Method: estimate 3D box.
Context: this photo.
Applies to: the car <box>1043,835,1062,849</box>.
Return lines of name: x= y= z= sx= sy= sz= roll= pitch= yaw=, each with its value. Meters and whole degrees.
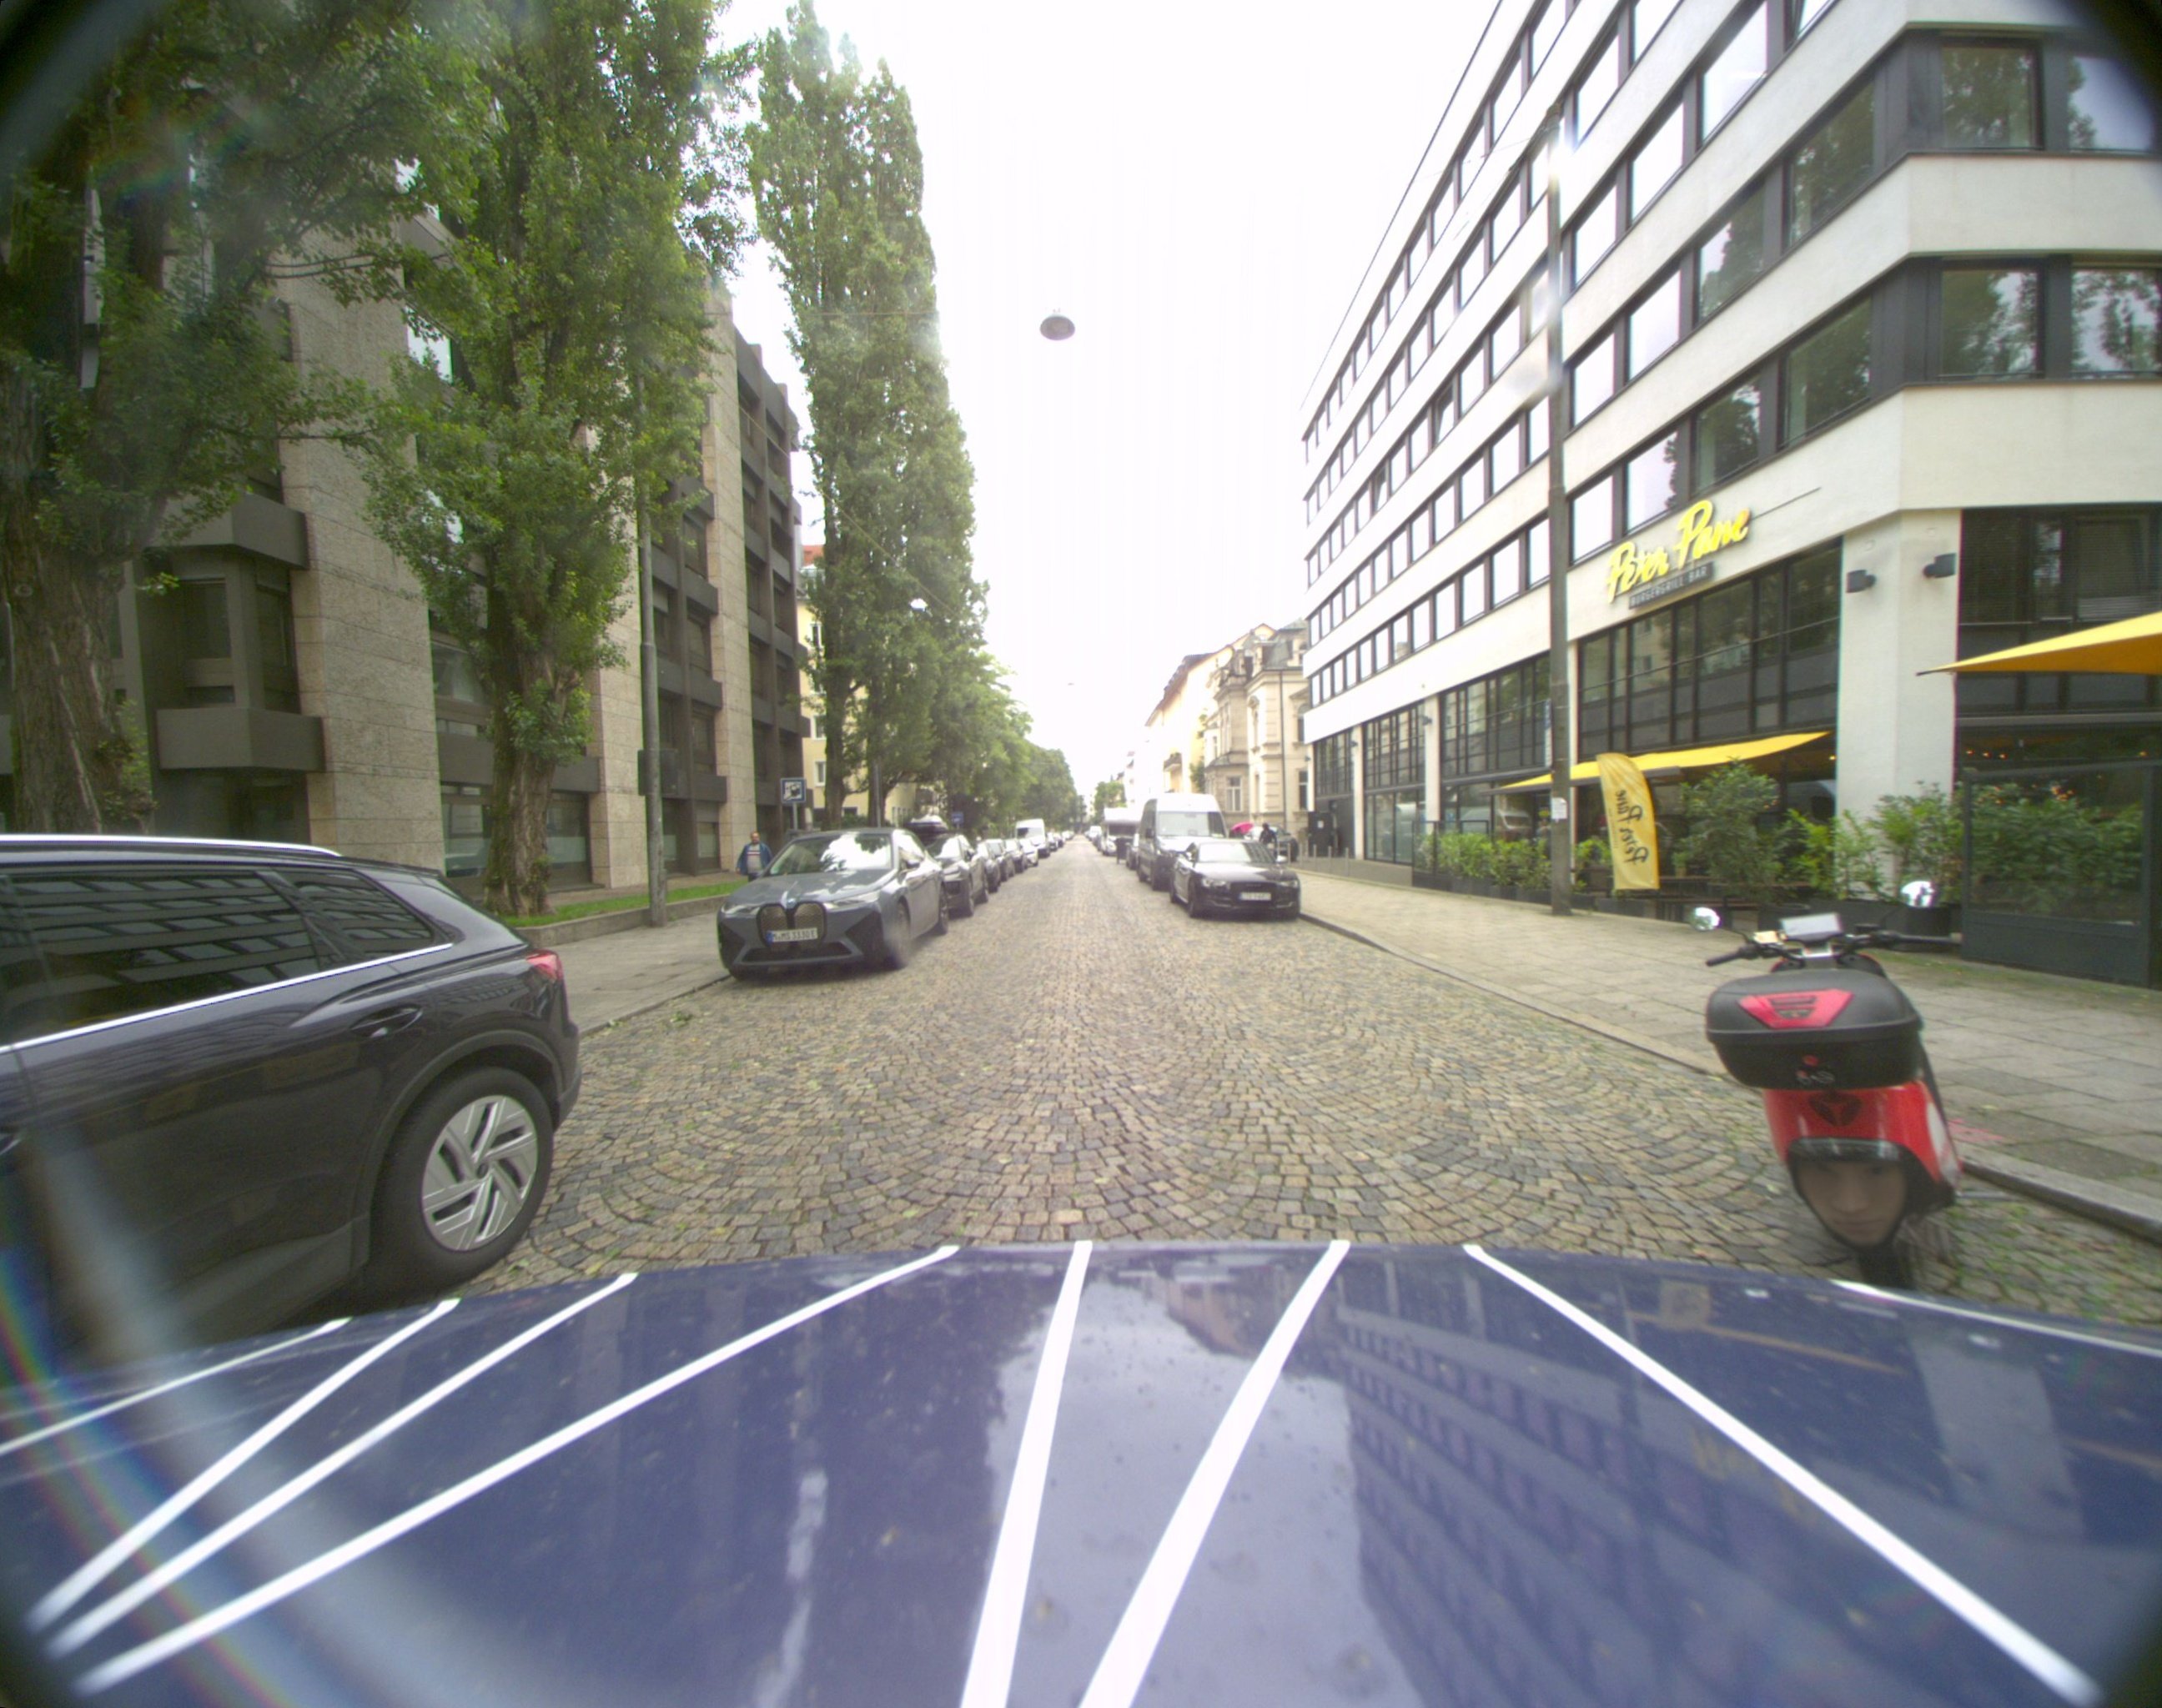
car: x=-3.023 y=-1.314 z=81.703 sx=1.999 sy=1.380 sz=3.870 roll=0 pitch=4 yaw=-2

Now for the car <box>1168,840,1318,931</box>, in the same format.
car: x=2.839 y=0.474 z=14.225 sx=1.998 sy=1.323 sz=4.115 roll=-1 pitch=2 yaw=1

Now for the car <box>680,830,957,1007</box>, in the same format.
car: x=-3.041 y=0.587 z=10.071 sx=2.018 sy=1.691 sz=4.670 roll=-2 pitch=2 yaw=-1

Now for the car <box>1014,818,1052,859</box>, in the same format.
car: x=-3.071 y=-1.044 z=49.325 sx=2.088 sy=2.419 sz=5.607 roll=-3 pitch=2 yaw=-1

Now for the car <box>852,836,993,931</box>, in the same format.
car: x=-3.078 y=0.475 z=15.720 sx=1.999 sy=1.574 sz=4.340 roll=-2 pitch=2 yaw=-1

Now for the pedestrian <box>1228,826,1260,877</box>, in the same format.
pedestrian: x=5.533 y=-0.092 z=25.838 sx=0.928 sy=1.697 sz=0.799 roll=-1 pitch=3 yaw=3

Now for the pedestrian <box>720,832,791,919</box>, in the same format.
pedestrian: x=-6.674 y=0.426 z=15.631 sx=0.867 sy=1.705 sz=0.913 roll=-1 pitch=3 yaw=20

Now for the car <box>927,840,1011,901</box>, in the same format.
car: x=-3.125 y=0.384 z=21.964 sx=1.723 sy=1.382 sz=4.203 roll=-4 pitch=3 yaw=0

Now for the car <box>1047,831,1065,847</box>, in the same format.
car: x=-2.897 y=-1.739 z=88.364 sx=1.999 sy=1.680 sz=3.871 roll=-3 pitch=2 yaw=-2

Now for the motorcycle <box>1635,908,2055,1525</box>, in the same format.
motorcycle: x=2.663 y=0.902 z=2.680 sx=1.994 sy=1.189 sz=0.769 roll=-4 pitch=3 yaw=-43

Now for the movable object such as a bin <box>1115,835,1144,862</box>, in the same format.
movable object such as a bin: x=2.375 y=-0.278 z=37.518 sx=1.255 sy=1.291 sz=1.173 roll=-1 pitch=2 yaw=-4

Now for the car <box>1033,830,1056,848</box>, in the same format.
car: x=-3.260 y=-1.364 z=68.137 sx=1.999 sy=1.380 sz=3.871 roll=-3 pitch=2 yaw=-2

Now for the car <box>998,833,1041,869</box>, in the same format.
car: x=-2.911 y=-0.177 z=36.755 sx=1.868 sy=1.491 sz=3.871 roll=-3 pitch=2 yaw=-2

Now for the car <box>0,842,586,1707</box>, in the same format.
car: x=-3.073 y=0.917 z=1.081 sx=1.925 sy=1.691 sz=4.199 roll=-2 pitch=2 yaw=-1

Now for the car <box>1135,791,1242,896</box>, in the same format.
car: x=2.813 y=-0.361 z=21.265 sx=2.065 sy=2.477 sz=5.846 roll=-1 pitch=2 yaw=-1

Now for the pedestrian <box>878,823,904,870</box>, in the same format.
pedestrian: x=-6.236 y=-0.255 z=24.999 sx=0.645 sy=1.529 sz=0.708 roll=-2 pitch=3 yaw=-3

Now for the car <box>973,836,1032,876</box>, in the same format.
car: x=-3.192 y=0.047 z=31.563 sx=1.998 sy=1.380 sz=3.872 roll=-3 pitch=2 yaw=0

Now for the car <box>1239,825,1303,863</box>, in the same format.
car: x=8.487 y=-0.500 z=34.318 sx=1.912 sy=1.524 sz=4.168 roll=-2 pitch=2 yaw=1

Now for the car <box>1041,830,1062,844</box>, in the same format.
car: x=-2.976 y=-1.728 z=76.712 sx=1.999 sy=1.380 sz=3.871 roll=-2 pitch=2 yaw=-2

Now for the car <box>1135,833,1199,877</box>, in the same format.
car: x=3.030 y=-0.022 z=27.482 sx=1.998 sy=1.423 sz=3.999 roll=-1 pitch=2 yaw=3

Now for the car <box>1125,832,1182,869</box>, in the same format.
car: x=2.986 y=-0.195 z=31.990 sx=1.999 sy=1.381 sz=3.998 roll=-1 pitch=2 yaw=0

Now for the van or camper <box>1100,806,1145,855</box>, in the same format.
van or camper: x=2.731 y=-1.627 z=51.435 sx=2.464 sy=3.031 sz=7.314 roll=-2 pitch=2 yaw=-1

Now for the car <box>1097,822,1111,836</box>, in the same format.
car: x=4.057 y=-4.551 z=136.044 sx=2.088 sy=2.419 sz=5.608 roll=-2 pitch=2 yaw=-1

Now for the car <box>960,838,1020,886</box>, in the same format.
car: x=-3.118 y=0.216 z=26.609 sx=1.604 sy=1.423 sz=3.561 roll=-4 pitch=2 yaw=0

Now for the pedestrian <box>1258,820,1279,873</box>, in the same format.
pedestrian: x=6.274 y=-0.244 z=25.449 sx=0.575 sy=1.739 sz=0.651 roll=-1 pitch=3 yaw=7

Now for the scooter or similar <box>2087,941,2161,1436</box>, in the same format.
scooter or similar: x=2.809 y=0.924 z=1.645 sx=0.326 sy=1.266 sz=1.360 roll=0 pitch=3 yaw=35

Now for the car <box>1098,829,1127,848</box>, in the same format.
car: x=2.562 y=-1.259 z=62.385 sx=1.999 sy=1.380 sz=3.871 roll=-3 pitch=2 yaw=-2

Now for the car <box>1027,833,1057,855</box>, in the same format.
car: x=-2.848 y=-0.773 z=55.951 sx=1.999 sy=1.380 sz=3.871 roll=-3 pitch=2 yaw=-2
